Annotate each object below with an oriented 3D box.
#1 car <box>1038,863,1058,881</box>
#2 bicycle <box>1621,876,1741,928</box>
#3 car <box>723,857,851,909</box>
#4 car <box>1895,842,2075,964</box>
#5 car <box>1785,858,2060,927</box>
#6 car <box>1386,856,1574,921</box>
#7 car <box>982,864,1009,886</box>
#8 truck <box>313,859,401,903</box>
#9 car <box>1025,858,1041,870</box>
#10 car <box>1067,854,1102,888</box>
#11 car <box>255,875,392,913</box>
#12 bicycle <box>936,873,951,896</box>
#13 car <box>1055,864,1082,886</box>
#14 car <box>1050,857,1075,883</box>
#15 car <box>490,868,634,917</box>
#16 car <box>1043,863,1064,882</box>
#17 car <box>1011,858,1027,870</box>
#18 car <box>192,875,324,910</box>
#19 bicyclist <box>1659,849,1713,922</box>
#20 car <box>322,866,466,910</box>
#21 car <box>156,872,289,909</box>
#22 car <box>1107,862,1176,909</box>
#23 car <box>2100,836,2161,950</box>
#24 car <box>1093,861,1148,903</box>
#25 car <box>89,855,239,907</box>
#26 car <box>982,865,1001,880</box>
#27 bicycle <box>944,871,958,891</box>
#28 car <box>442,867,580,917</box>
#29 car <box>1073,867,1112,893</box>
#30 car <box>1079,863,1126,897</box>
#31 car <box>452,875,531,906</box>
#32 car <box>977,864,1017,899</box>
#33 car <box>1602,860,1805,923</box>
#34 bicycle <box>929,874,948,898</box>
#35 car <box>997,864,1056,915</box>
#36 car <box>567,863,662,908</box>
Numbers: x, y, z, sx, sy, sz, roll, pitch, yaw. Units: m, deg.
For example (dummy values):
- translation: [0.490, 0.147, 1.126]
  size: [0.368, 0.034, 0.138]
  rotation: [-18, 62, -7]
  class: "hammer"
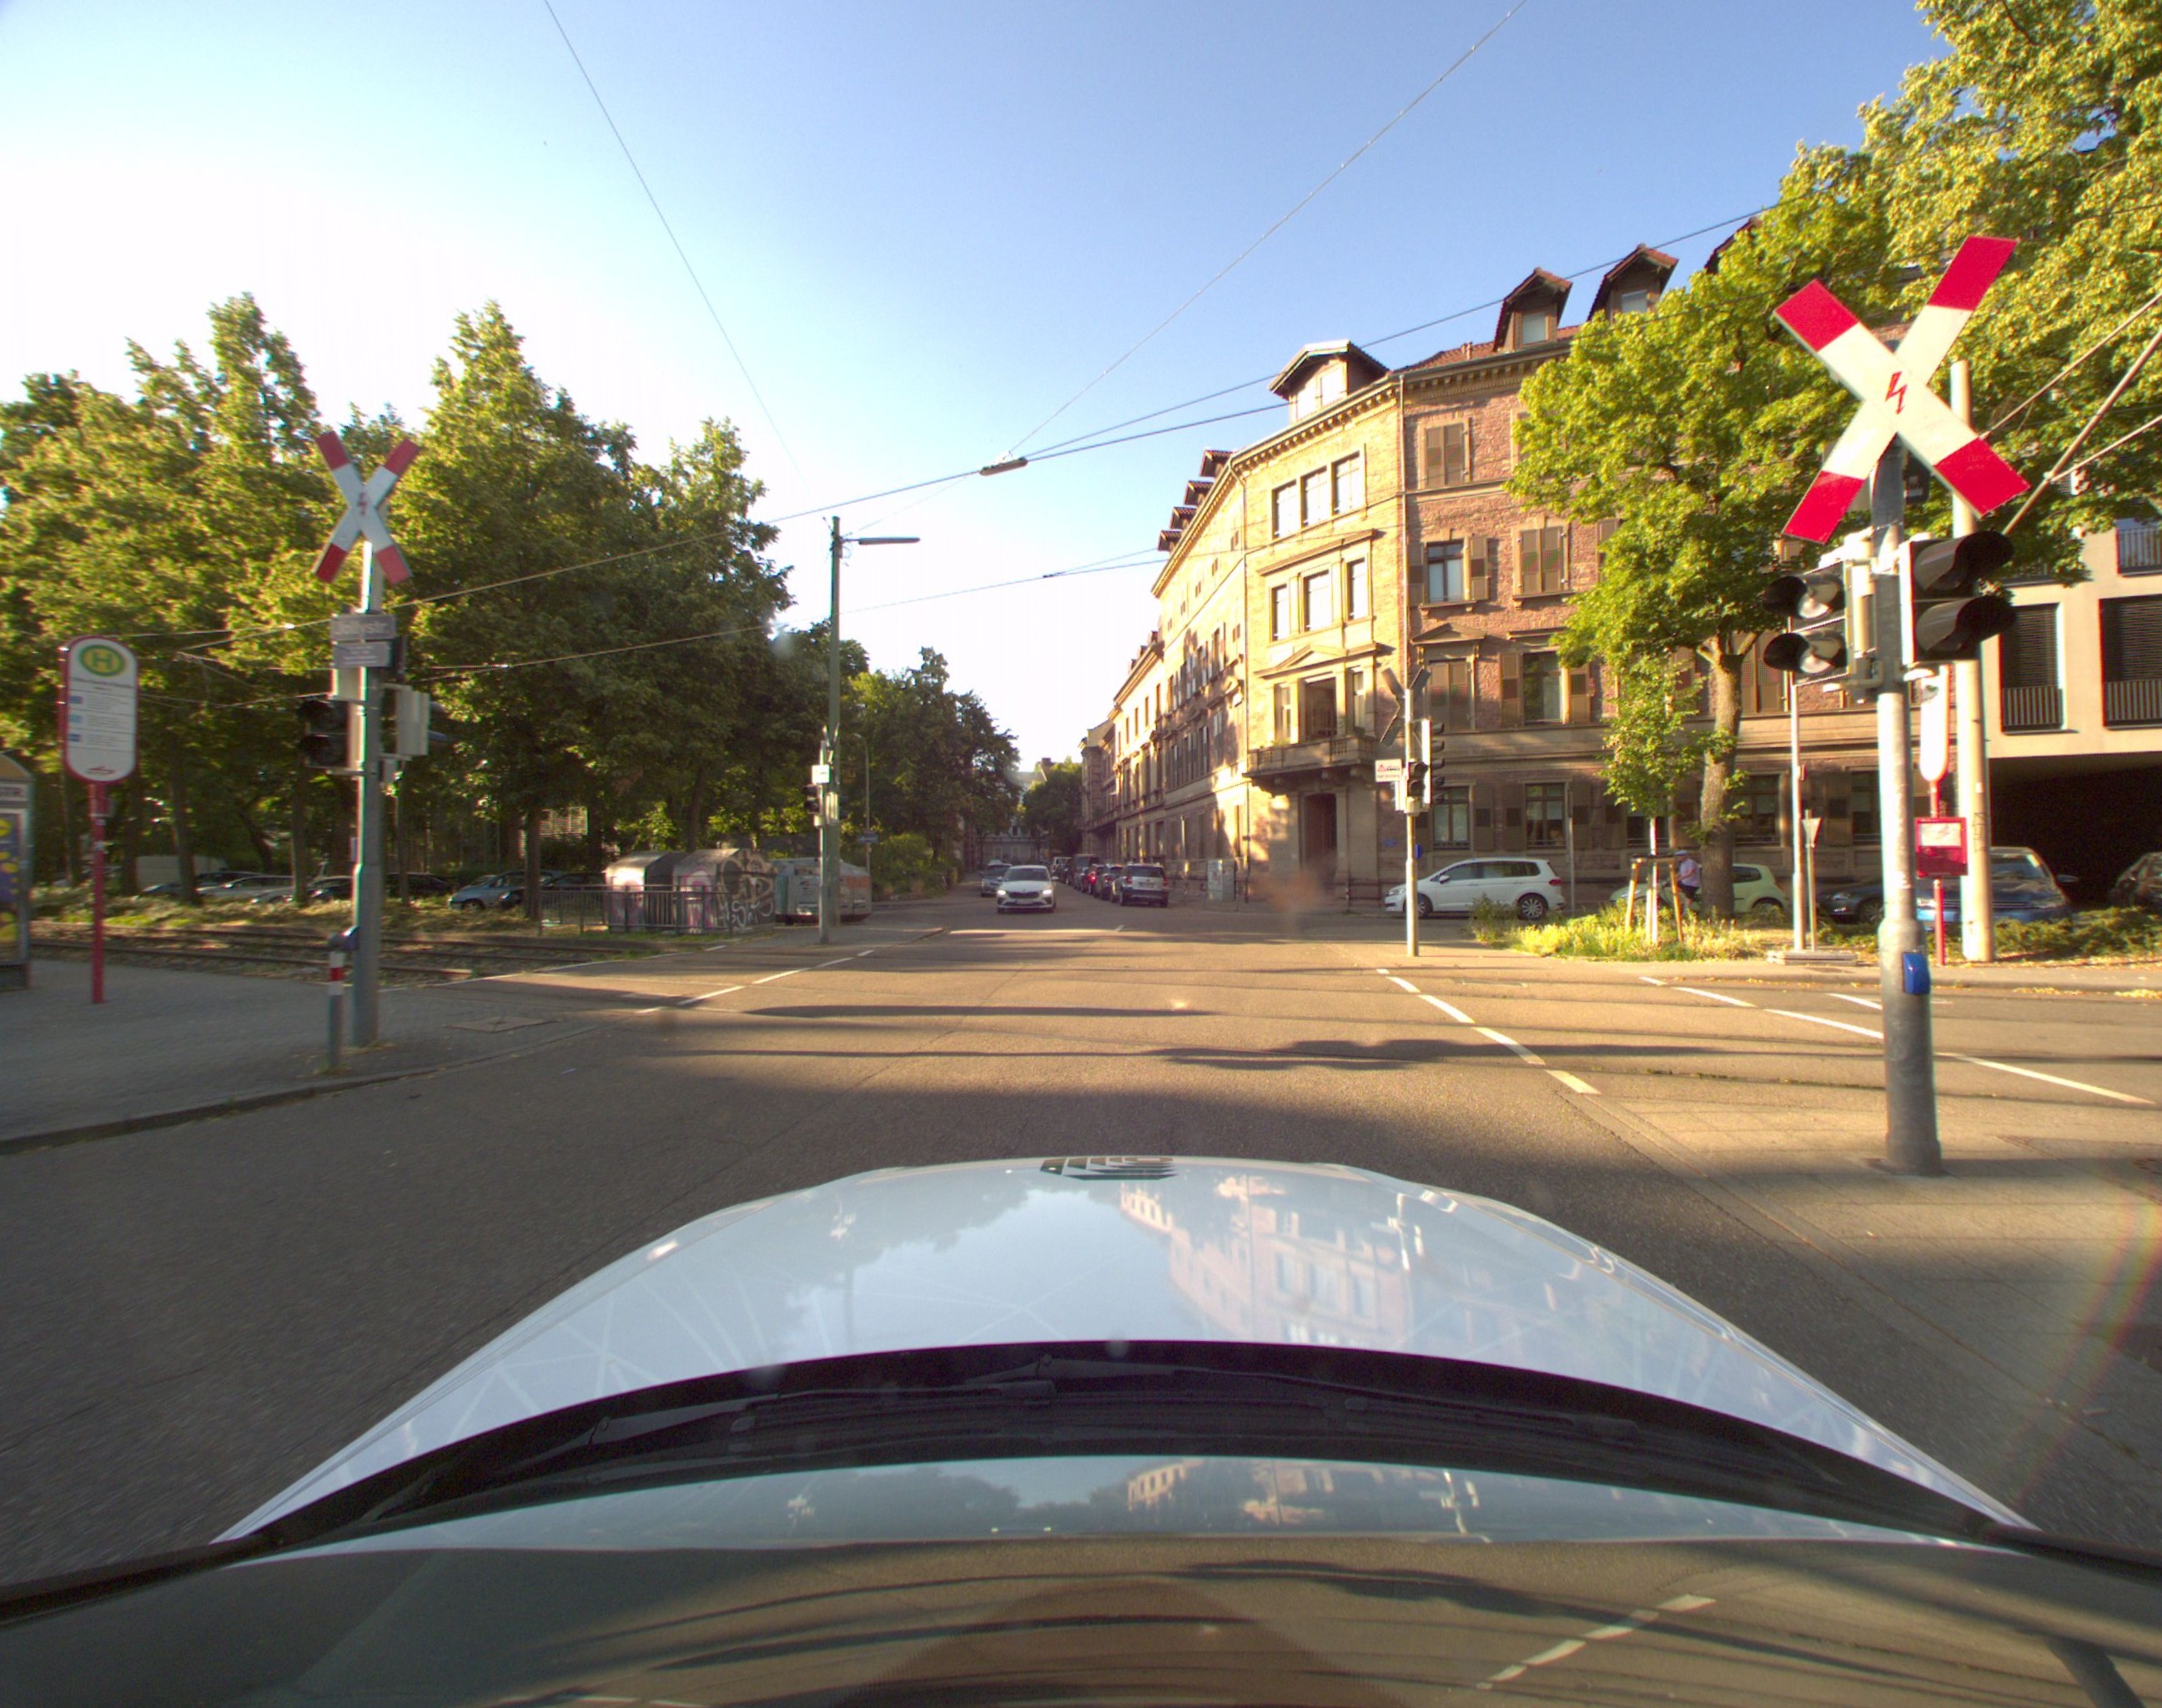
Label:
- translation: [-3.548, 1.897, 86.556]
  size: [1.795, 1.728, 3.947]
  rotation: [2, -1, -6]
  class: "car"
- translation: [13.499, 1.061, 18.391]
  size: [2.097, 1.054, 0.705]
  rotation: [0, -1, 27]
  class: "bicycle"
- translation: [-11.810, 1.152, 32.747]
  size: [4.606, 2.003, 1.960]
  rotation: [-1, -1, 19]
  class: "car"
- translation: [14.727, 0.729, 13.419]
  size: [4.444, 1.688, 1.721]
  rotation: [2, -2, -44]
  class: "car"
- translation: [19.565, 0.901, 19.184]
  size: [4.116, 1.490, 1.750]
  rotation: [-1, -3, 20]
  class: "car"
- translation: [10.721, 0.947, 22.281]
  size: [4.446, 1.650, 1.884]
  rotation: [-1, -3, 20]
  class: "car"
- translation: [-6.210, 1.508, 59.668]
  size: [1.823, 1.500, 3.923]
  rotation: [3, -1, -5]
  class: "car"
- translation: [-41.087, 1.501, 46.208]
  size: [4.328, 2.352, 2.388]
  rotation: [-1, -1, 28]
  class: "truck"
- translation: [-7.746, 1.649, 131.151]
  size: [1.995, 1.684, 3.983]
  rotation: [1, -3, -11]
  class: "car"
- translation: [0.200, 1.117, 53.292]
  size: [1.795, 2.073, 3.947]
  rotation: [2, -1, -6]
  class: "car"
- translation: [-29.892, 1.609, 32.262]
  size: [3.850, 1.392, 1.716]
  rotation: [3, -5, -43]
  class: "car"
- translation: [-6.990, 1.522, 41.437]
  size: [0.596, 1.101, 2.622]
  rotation: [-1, -1, -6]
  class: "bicycle"
- translation: [-1.024, 1.617, 64.364]
  size: [1.795, 1.623, 3.947]
  rotation: [2, -1, -6]
  class: "car"
- translation: [-1.640, 1.374, 70.037]
  size: [1.795, 2.073, 3.947]
  rotation: [2, -1, -6]
  class: "car"
- translation: [-16.397, 1.242, 25.804]
  size: [3.636, 1.447, 1.589]
  rotation: [3, -3, -39]
  class: "car"
- translation: [-2.741, 1.809, 81.394]
  size: [1.795, 1.839, 3.947]
  rotation: [2, -1, -6]
  class: "car"
- translation: [-10.011, 1.644, 131.050]
  size: [1.995, 1.684, 3.983]
  rotation: [1, -3, -11]
  class: "car"
- translation: [-35.144, 1.697, 34.928]
  size: [3.850, 1.422, 1.716]
  rotation: [3, -5, -43]
  class: "car"
- translation: [13.613, 0.690, 18.344]
  size: [0.863, 1.588, 0.705]
  rotation: [0, -1, 27]
  class: "bicyclist"
- translation: [-24.846, 1.270, 29.545]
  size: [3.850, 1.497, 1.716]
  rotation: [3, -5, -43]
  class: "car"
- translation: [-37.820, 1.652, 36.038]
  size: [3.850, 1.588, 1.716]
  rotation: [3, -5, -43]
  class: "car"
- translation: [2.293, 1.213, 32.051]
  size: [1.913, 1.657, 4.177]
  rotation: [3, -1, -6]
  class: "car"
- translation: [17.657, 0.527, 12.745]
  size: [4.577, 1.634, 1.906]
  rotation: [-1, 0, -41]
  class: "car"
- translation: [1.714, 1.221, 37.038]
  size: [1.823, 1.724, 4.534]
  rotation: [3, -1, -5]
  class: "car"
- translation: [-45.634, 1.388, 40.693]
  size: [4.515, 2.477, 1.801]
  rotation: [2, -4, -32]
  class: "car"
- translation: [-9.387, 1.915, 85.777]
  size: [1.823, 1.500, 3.923]
  rotation: [3, -1, -5]
  class: "car"
- translation: [-7.653, 1.584, 47.906]
  size: [0.595, 1.101, 2.623]
  rotation: [-1, -1, -4]
  class: "bicycle"
- translation: [-18.975, 1.289, 27.190]
  size: [3.636, 1.563, 1.589]
  rotation: [3, -3, -39]
  class: "car"
- translation: [0.605, 1.473, 47.176]
  size: [1.795, 1.345, 3.947]
  rotation: [2, -1, -6]
  class: "car"
- translation: [1.069, 1.335, 42.397]
  size: [1.797, 1.614, 3.944]
  rotation: [2, -1, -8]
  class: "car"
- translation: [-29.175, 1.790, 40.319]
  size: [3.556, 1.467, 1.585]
  rotation: [-1, -1, 24]
  class: "car"
- translation: [-4.201, 1.344, 41.129]
  size: [1.823, 1.615, 4.283]
  rotation: [3, -1, -5]
  class: "car"
- translation: [15.602, 0.950, 20.652]
  size: [3.682, 1.490, 1.750]
  rotation: [-1, -3, 18]
  class: "car"
- translation: [-6.774, 1.501, 38.731]
  size: [0.595, 1.101, 2.623]
  rotation: [-1, -1, -4]
  class: "bicycle"
- translation: [-1.674, 1.084, 26.234]
  size: [1.697, 1.457, 4.059]
  rotation: [-1, 0, -2]
  class: "car"
- translation: [-20.764, 1.373, 36.244]
  size: [3.855, 1.904, 1.585]
  rotation: [-1, -1, 22]
  class: "car"
